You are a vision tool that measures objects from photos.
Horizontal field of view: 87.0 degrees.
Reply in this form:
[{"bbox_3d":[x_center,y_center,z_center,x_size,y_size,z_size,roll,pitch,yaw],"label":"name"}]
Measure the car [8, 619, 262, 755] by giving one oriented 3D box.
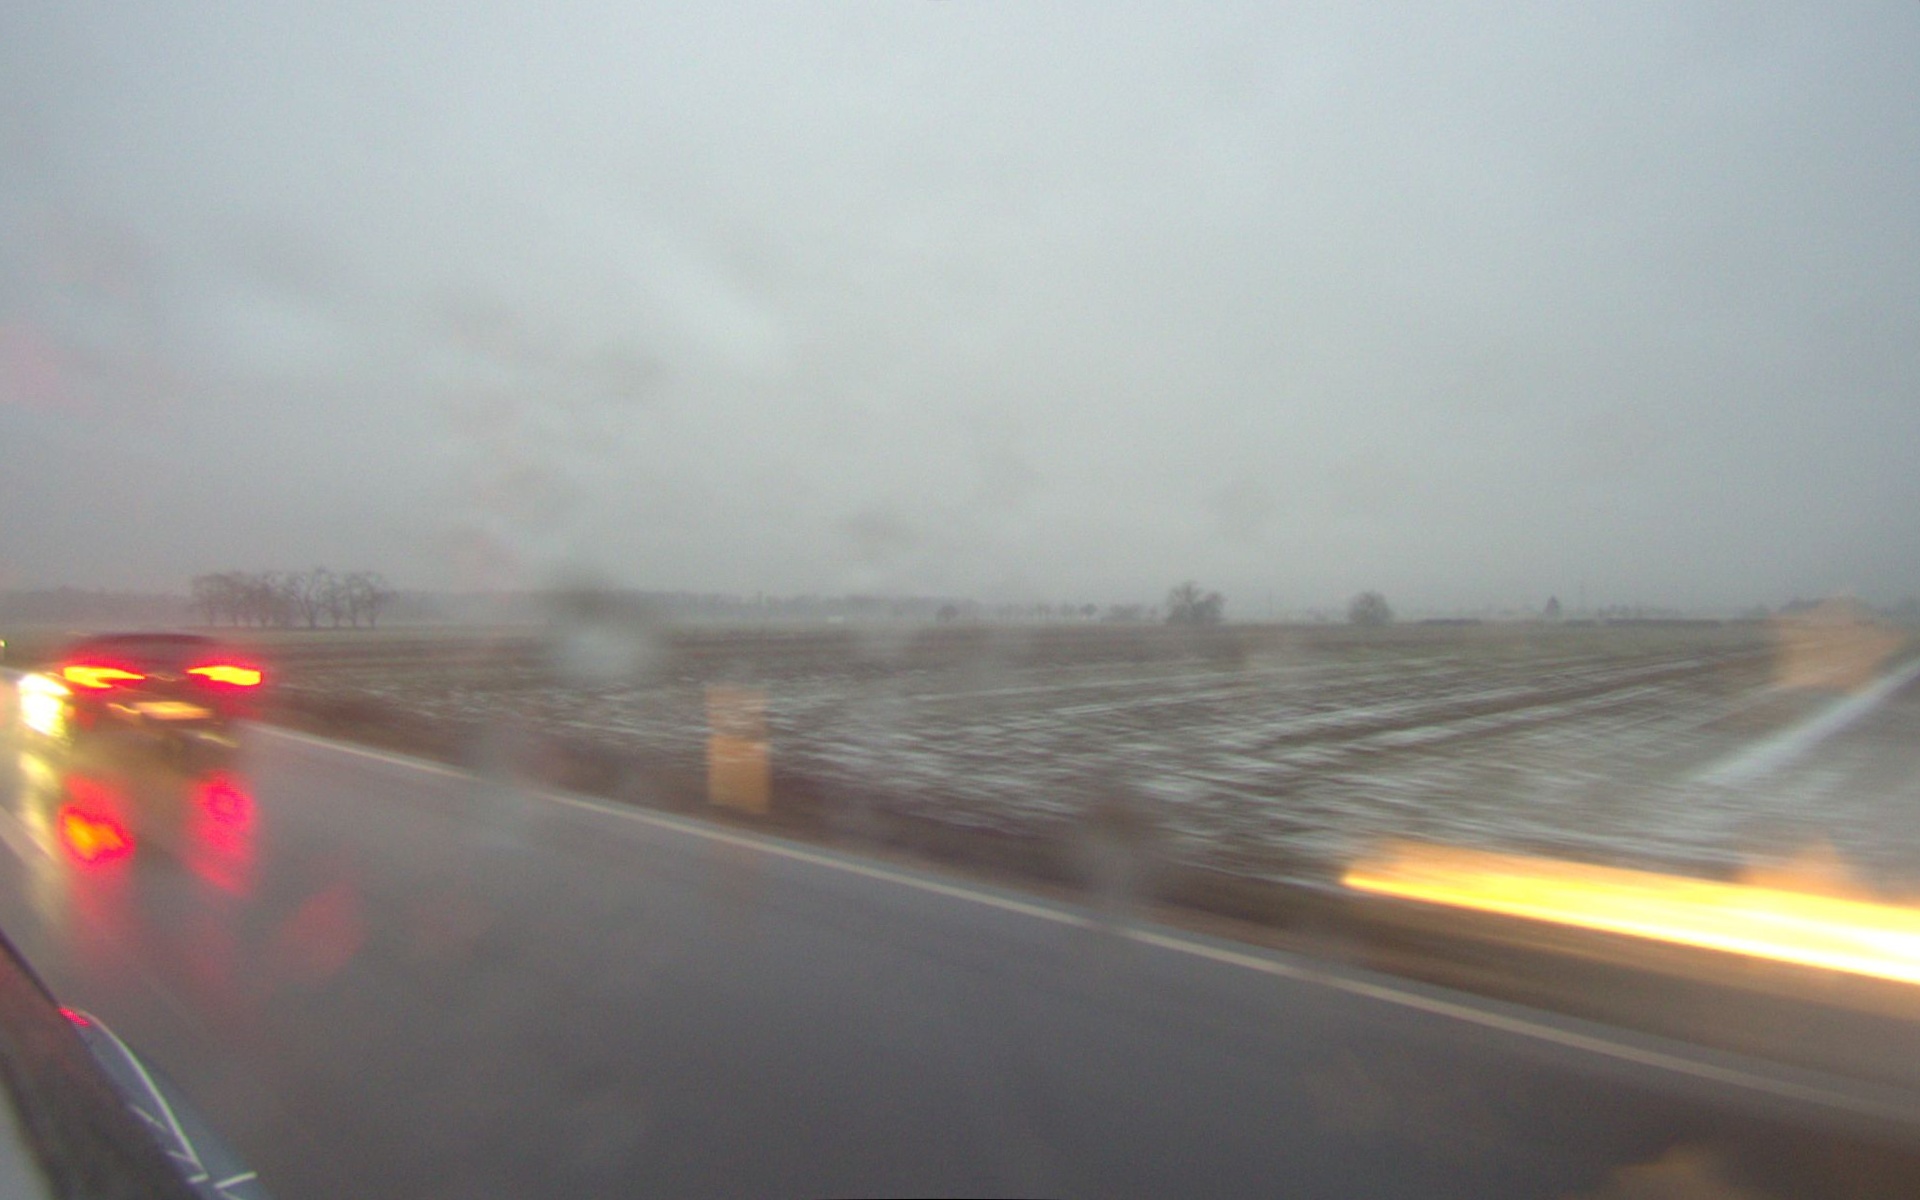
[{"bbox_3d":[-10.388,0.996,12.651,4.020,1.424,1.710,-1,-4,40],"label":"car"}]
